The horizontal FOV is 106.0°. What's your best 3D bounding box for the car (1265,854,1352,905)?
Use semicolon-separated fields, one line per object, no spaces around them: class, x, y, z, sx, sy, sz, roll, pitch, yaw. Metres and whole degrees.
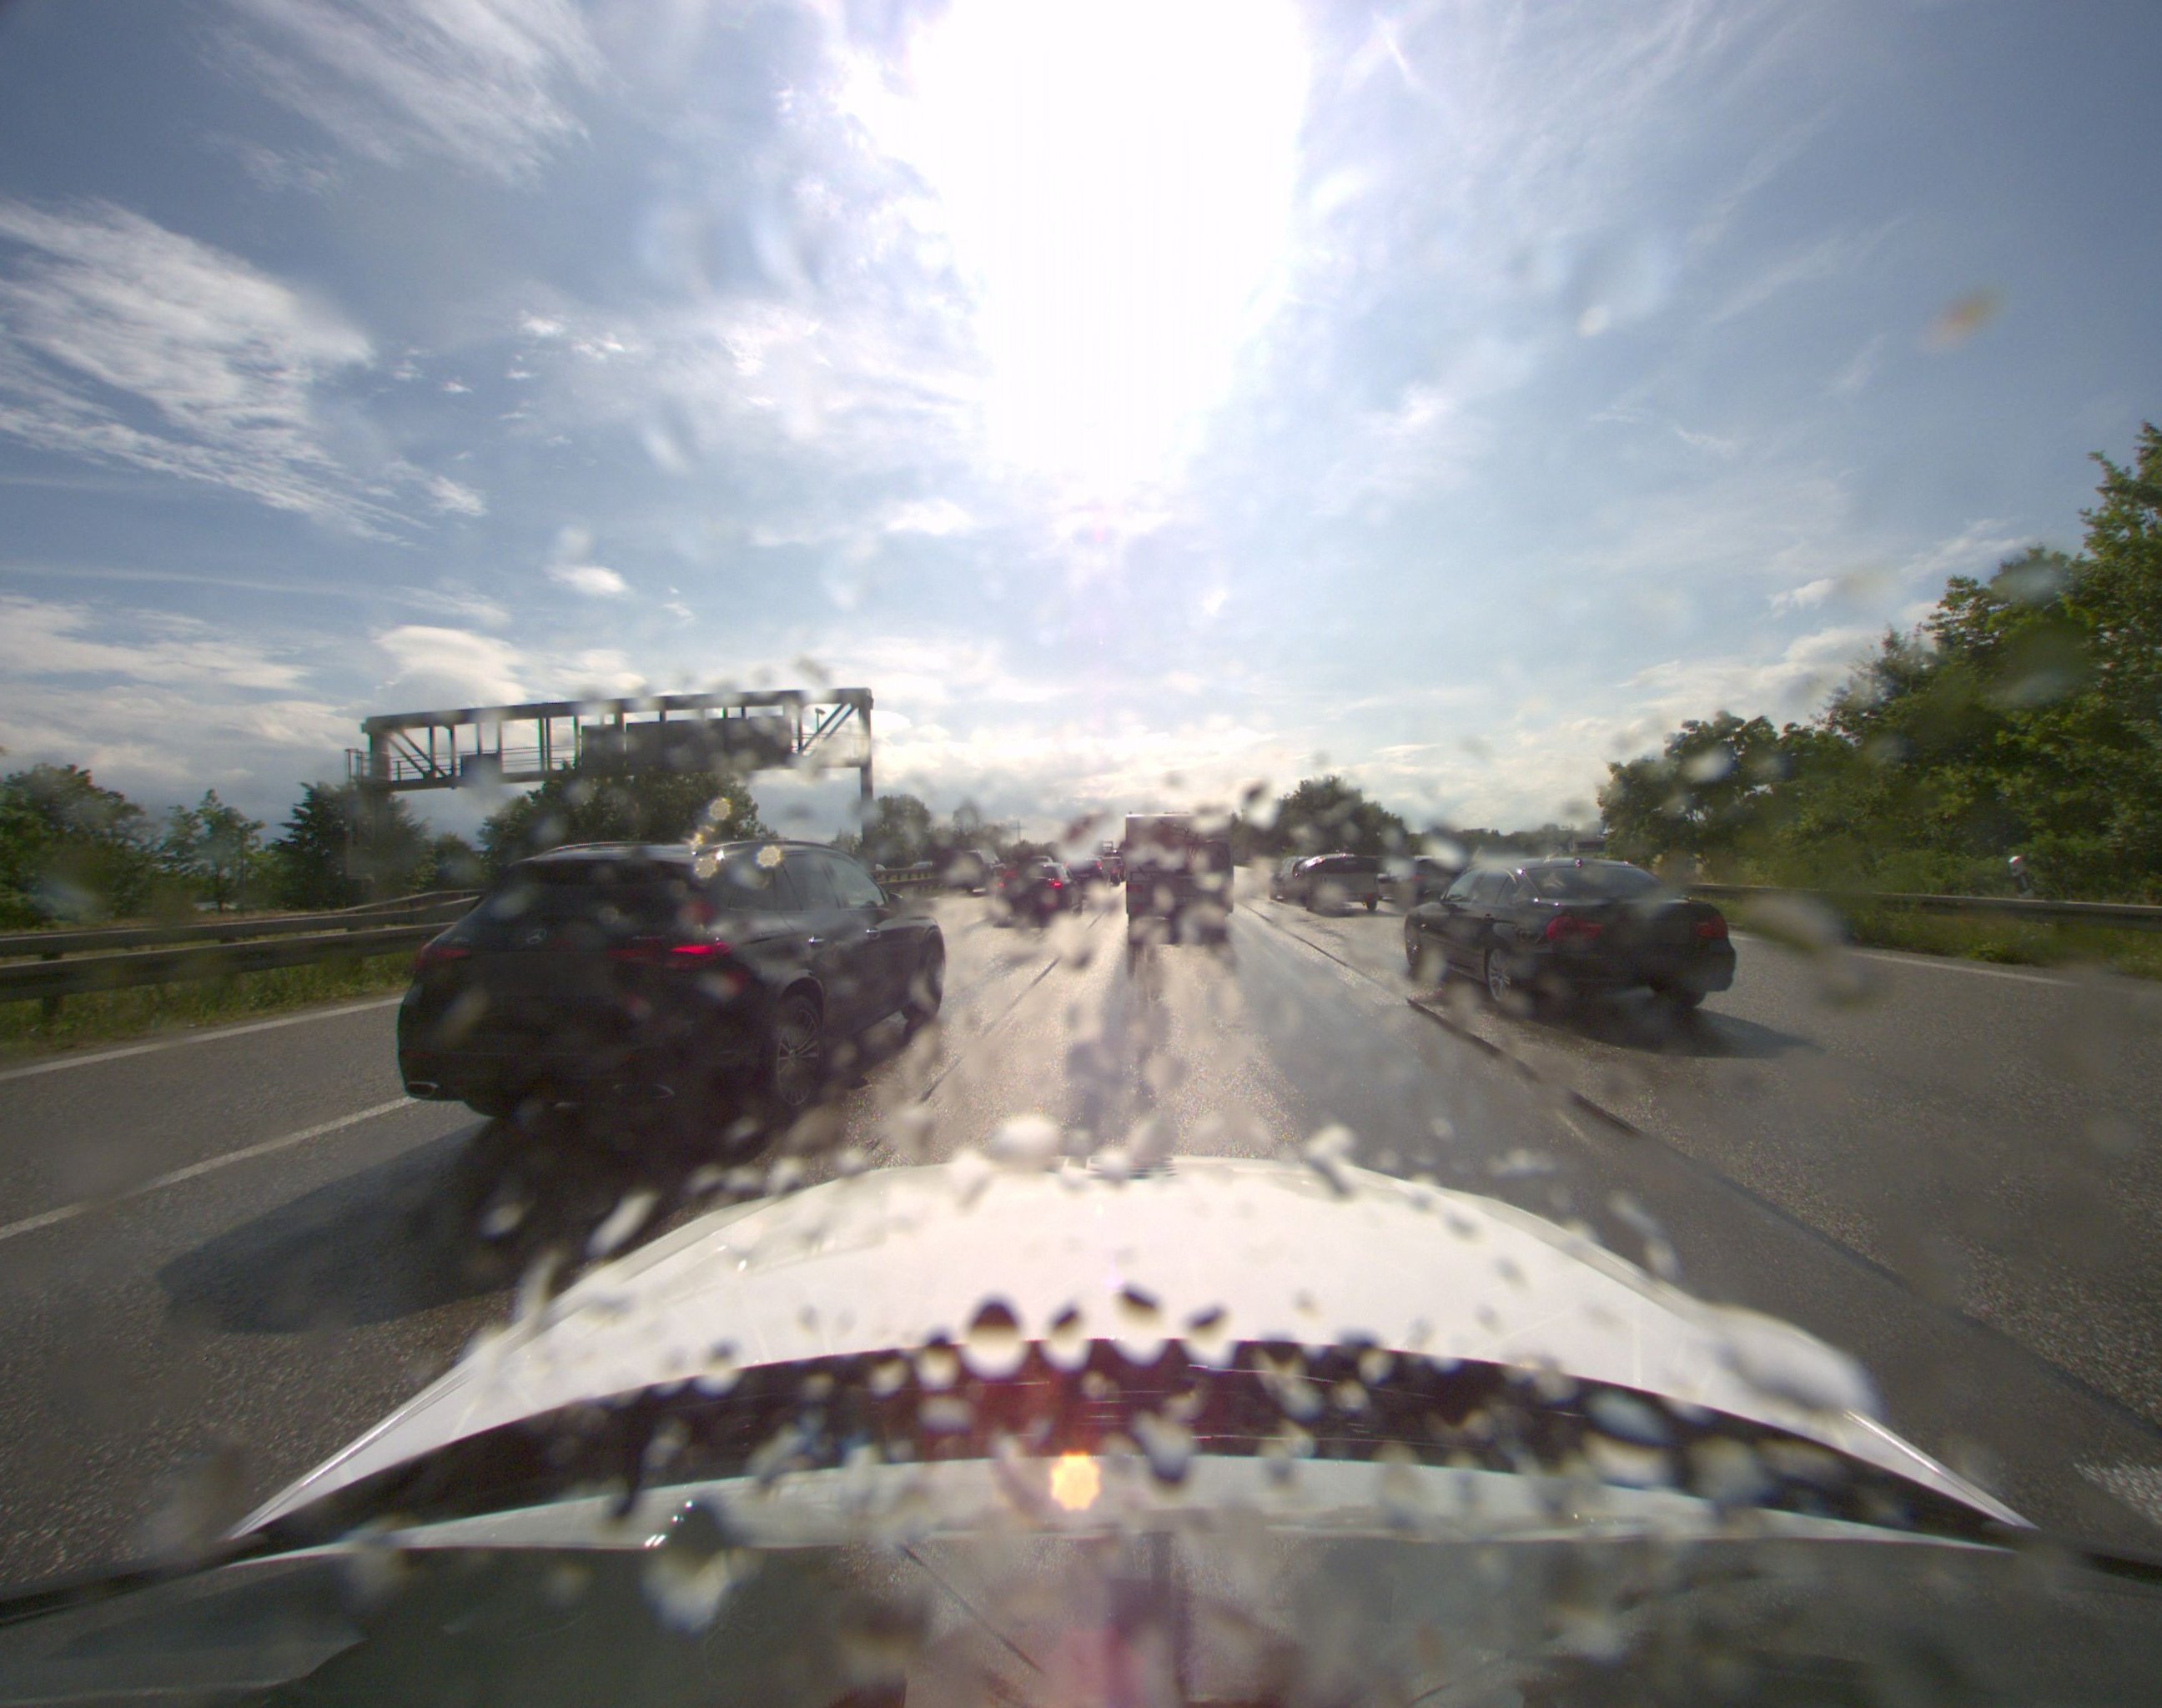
car;7.023;0.745;25.520;1.846;1.442;4.263;-1;0;5

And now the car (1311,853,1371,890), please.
car;11.003;0.718;34.662;1.663;1.482;3.676;-1;0;5

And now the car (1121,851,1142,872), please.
car;5.157;0.774;83.291;1.984;2.014;4.006;0;0;6

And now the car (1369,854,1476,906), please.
car;10.071;0.714;24.345;1.762;1.401;4.296;-1;0;6

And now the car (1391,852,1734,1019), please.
car;4.874;0.713;8.945;1.732;1.420;3.841;-1;0;5

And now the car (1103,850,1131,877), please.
car;2.869;0.737;64.620;1.984;2.014;4.006;0;0;6

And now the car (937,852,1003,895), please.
car;-4.626;0.806;34.515;1.985;1.720;4.004;0;-1;4

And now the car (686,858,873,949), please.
car;-5.714;0.868;16.067;1.748;1.516;4.215;-1;0;6

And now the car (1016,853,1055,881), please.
car;-3.004;0.869;54.301;1.984;1.772;4.006;-1;0;6

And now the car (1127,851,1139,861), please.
car;8.821;0.328;138.464;1.869;1.760;4.002;0;-1;2

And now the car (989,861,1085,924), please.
car;-0.988;0.884;20.340;1.748;1.387;3.951;-1;0;6

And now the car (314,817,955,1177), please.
car;-2.485;0.691;6.039;1.983;1.661;4.413;-1;-1;6

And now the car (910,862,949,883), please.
car;-10.735;1.298;57.793;1.749;1.380;3.881;-1;0;4

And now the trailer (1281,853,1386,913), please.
trailer;6.726;0.722;22.140;1.846;1.442;4.153;-1;0;5

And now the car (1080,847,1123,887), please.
car;1.127;0.668;42.624;1.984;2.014;4.006;0;0;6

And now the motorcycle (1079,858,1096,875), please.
motorcycle;0.492;0.936;63.150;1.068;1.271;2.694;-1;0;6

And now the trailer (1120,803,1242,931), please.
trailer;2.223;0.281;19.143;2.363;2.483;6.531;0;-1;5

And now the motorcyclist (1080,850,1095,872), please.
motorcyclist;0.495;0.522;63.299;1.059;1.718;0.786;-1;-1;5

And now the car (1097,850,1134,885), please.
car;2.171;0.819;50.909;1.984;2.013;4.006;3;0;6

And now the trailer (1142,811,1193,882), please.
trailer;5.671;-0.405;52.579;2.991;4.166;8.553;-1;0;7

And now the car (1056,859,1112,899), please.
car;0.187;0.906;31.062;1.797;1.407;4.006;0;-1;5

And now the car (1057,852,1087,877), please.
car;-0.709;0.878;69.318;1.984;2.013;4.006;3;0;6
